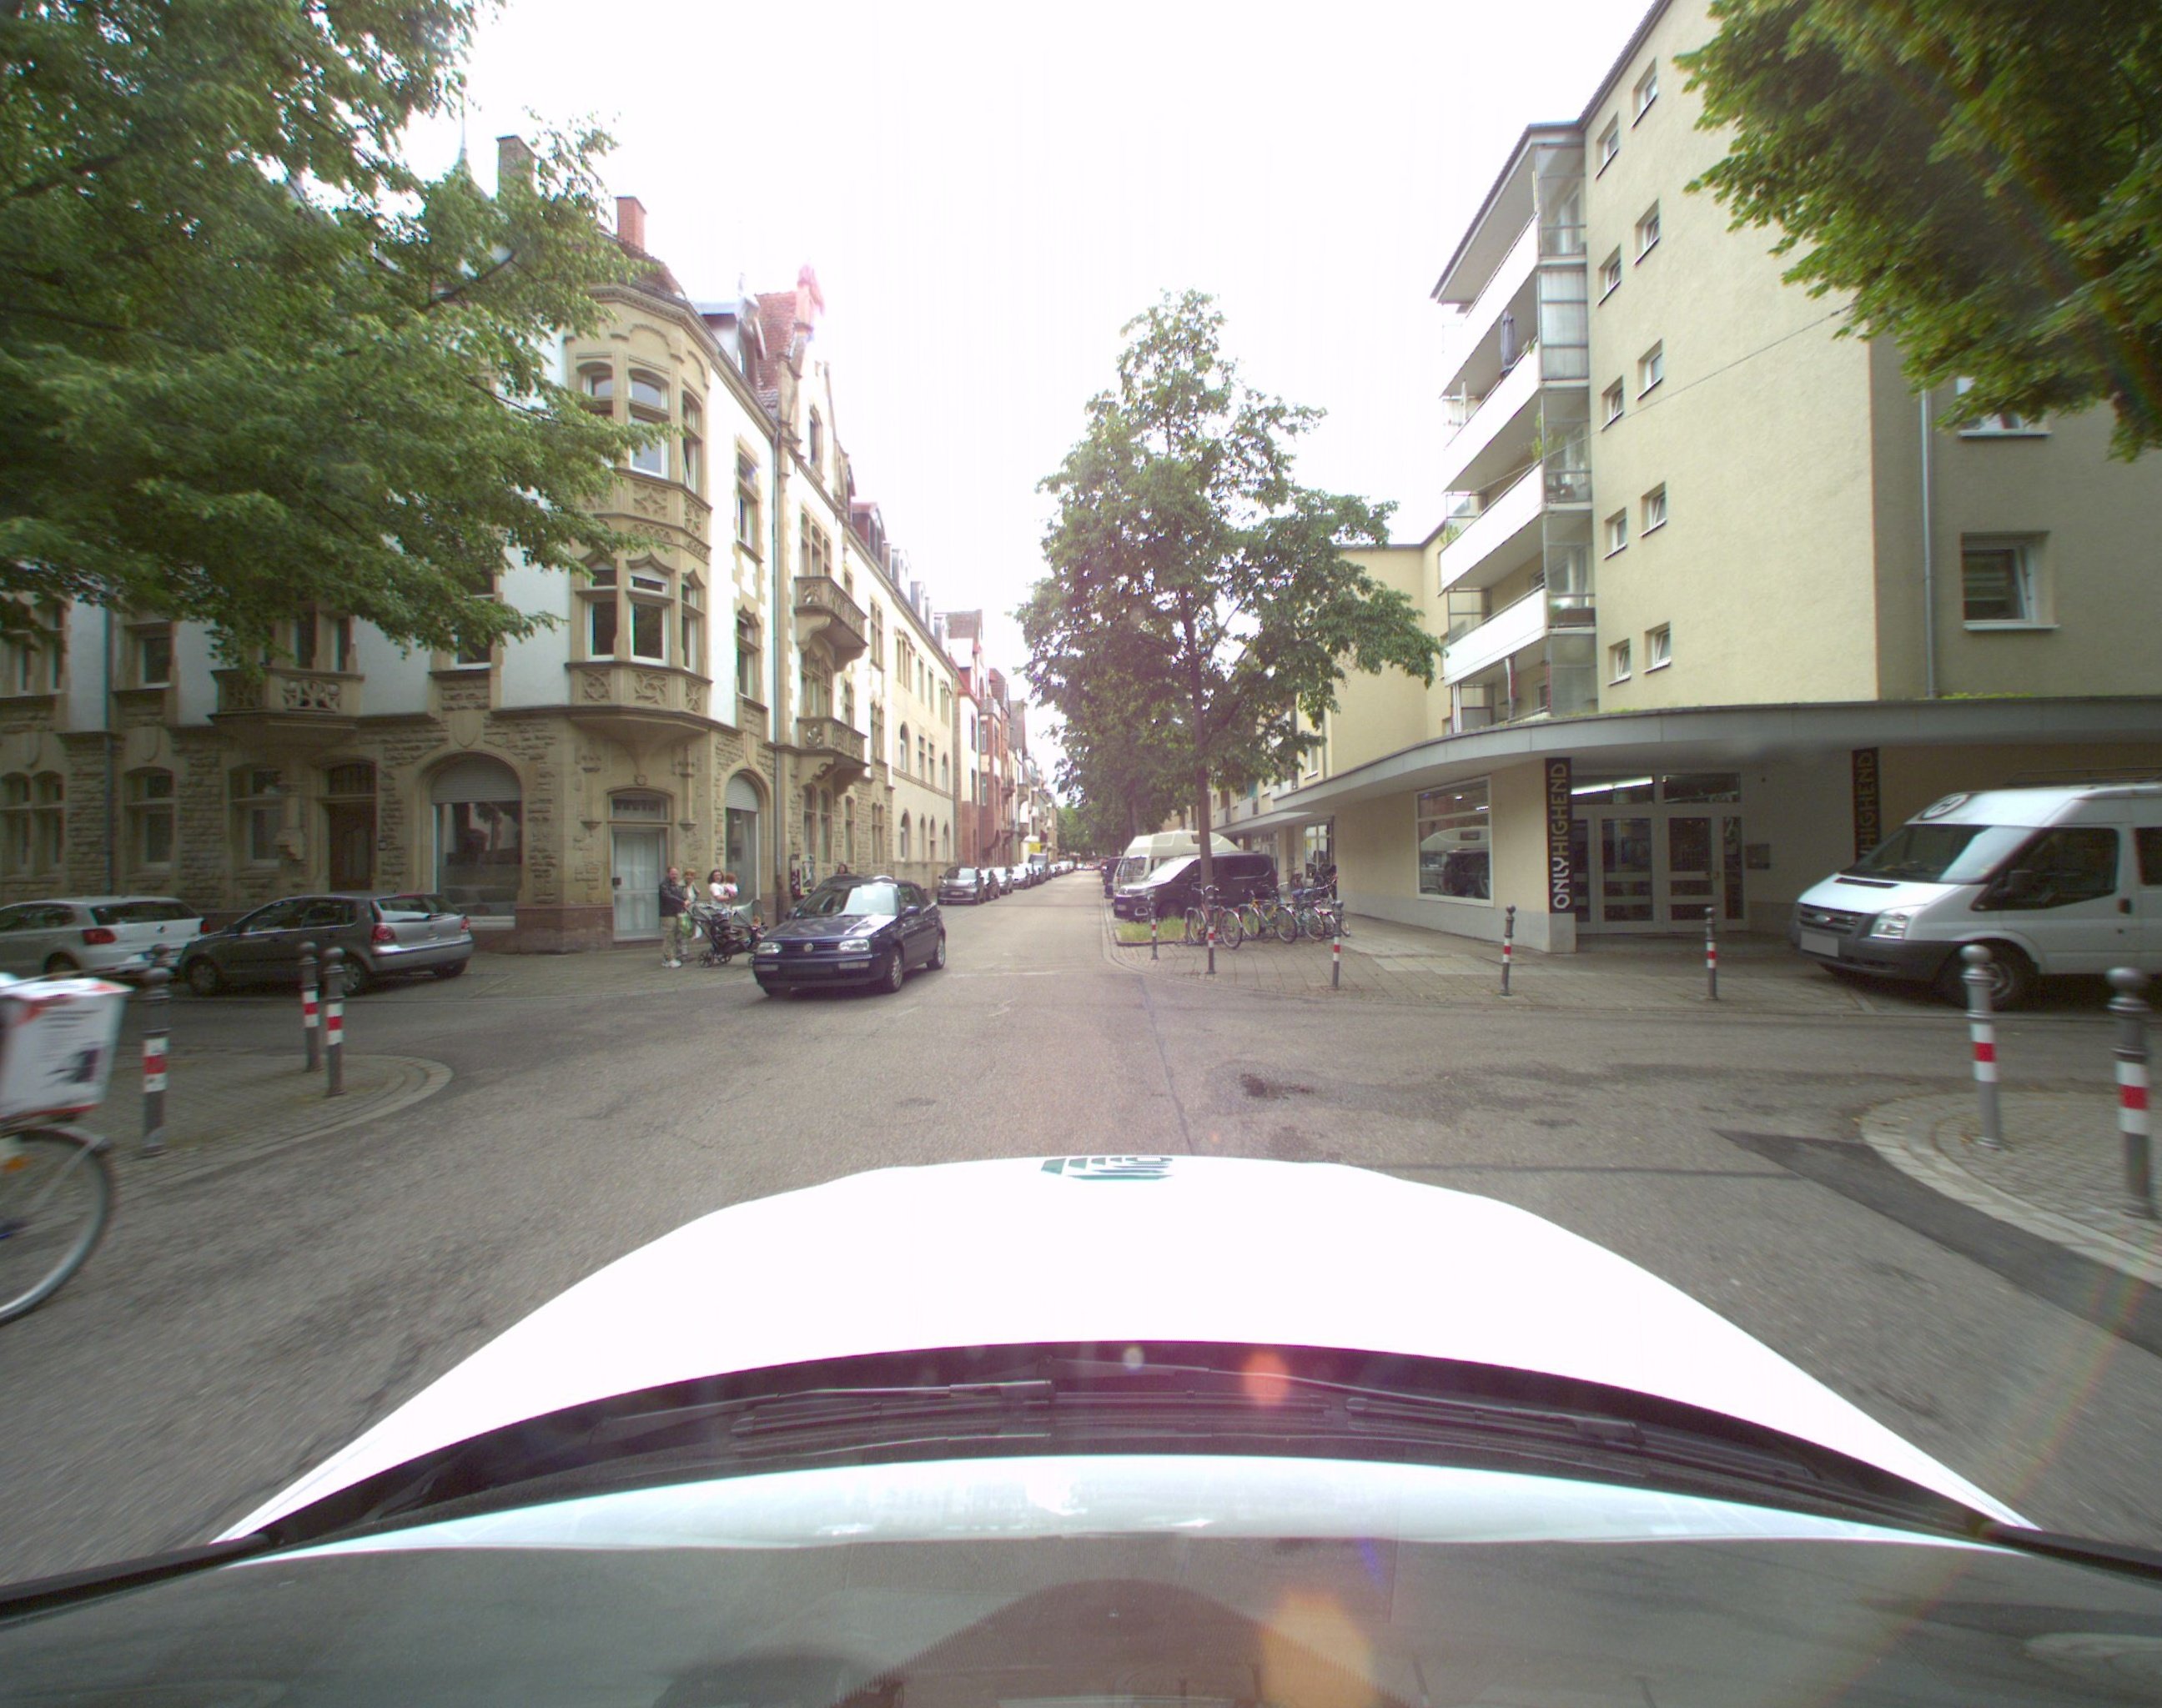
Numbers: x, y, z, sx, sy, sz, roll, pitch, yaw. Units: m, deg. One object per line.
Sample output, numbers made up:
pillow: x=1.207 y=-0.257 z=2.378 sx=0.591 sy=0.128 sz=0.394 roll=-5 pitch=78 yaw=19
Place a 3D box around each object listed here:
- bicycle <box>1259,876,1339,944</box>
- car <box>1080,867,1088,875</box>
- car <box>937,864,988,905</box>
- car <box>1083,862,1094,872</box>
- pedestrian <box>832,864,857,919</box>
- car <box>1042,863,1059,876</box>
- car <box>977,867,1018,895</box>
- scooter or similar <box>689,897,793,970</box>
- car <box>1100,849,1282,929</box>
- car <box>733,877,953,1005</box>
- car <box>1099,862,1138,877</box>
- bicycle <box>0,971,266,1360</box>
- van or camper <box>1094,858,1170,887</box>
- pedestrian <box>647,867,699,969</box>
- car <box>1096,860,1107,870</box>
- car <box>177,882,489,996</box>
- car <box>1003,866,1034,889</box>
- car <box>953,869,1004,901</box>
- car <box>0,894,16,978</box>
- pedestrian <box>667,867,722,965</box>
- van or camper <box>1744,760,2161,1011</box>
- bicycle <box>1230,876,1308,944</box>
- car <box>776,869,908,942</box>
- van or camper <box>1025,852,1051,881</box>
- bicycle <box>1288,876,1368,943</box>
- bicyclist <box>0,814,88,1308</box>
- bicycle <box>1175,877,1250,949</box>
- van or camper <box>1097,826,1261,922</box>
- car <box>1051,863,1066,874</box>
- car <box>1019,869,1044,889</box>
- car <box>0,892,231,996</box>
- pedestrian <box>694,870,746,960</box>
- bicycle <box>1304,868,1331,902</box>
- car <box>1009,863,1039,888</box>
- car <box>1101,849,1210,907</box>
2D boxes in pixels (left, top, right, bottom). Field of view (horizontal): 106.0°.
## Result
bicycle: x=4.100 y=1.019 z=15.466 sx=0.550 sy=1.173 sz=1.716 roll=-1 pitch=0 yaw=-20
car: x=0.653 y=3.834 z=184.842 sx=1.814 sy=1.645 sz=3.753 roll=0 pitch=-2 yaw=1
car: x=-4.873 y=1.230 z=33.779 sx=1.641 sy=1.570 sz=2.956 roll=0 pitch=0 yaw=0
car: x=1.552 y=2.602 z=162.120 sx=1.986 sy=1.794 sz=4.001 roll=0 pitch=-2 yaw=2
pedestrian: x=-6.651 y=1.055 z=22.907 sx=0.513 sy=1.518 sz=0.547 roll=-1 pitch=-1 yaw=1
car: x=-3.564 y=1.813 z=95.755 sx=1.783 sy=1.480 sz=4.022 roll=0 pitch=-1 yaw=1
car: x=-4.542 y=1.447 z=44.644 sx=1.720 sy=1.386 sz=4.137 roll=0 pitch=0 yaw=1
scooter or similar: x=-5.714 y=1.315 z=13.696 sx=1.459 sy=1.104 sz=0.678 roll=1 pitch=0 yaw=12
car: x=2.864 y=0.850 z=21.177 sx=4.352 sy=1.854 sz=1.896 roll=-1 pitch=-1 yaw=-24
car: x=-3.058 y=1.060 z=11.309 sx=1.701 sy=1.413 sz=3.855 roll=-2 pitch=-2 yaw=3
car: x=4.222 y=1.732 z=92.343 sx=4.035 sy=1.559 sz=1.866 roll=0 pitch=-1 yaw=-30
bicycle: x=-3.690 y=1.033 z=2.426 sx=0.631 sy=1.094 sz=1.801 roll=-1 pitch=0 yaw=3
van or camper: x=3.718 y=1.346 z=59.157 sx=5.033 sy=1.869 sz=2.108 roll=-2 pitch=-1 yaw=-27
pedestrian: x=-6.774 y=1.043 z=13.528 sx=0.524 sy=1.643 sz=0.530 roll=0 pitch=-1 yaw=13
car: x=4.040 y=2.235 z=162.812 sx=1.987 sy=2.014 sz=4.000 roll=2 pitch=-1 yaw=1
car: x=-11.367 y=1.221 z=12.482 sx=3.547 sy=1.460 sz=1.654 roll=0 pitch=2 yaw=10
car: x=-4.043 y=1.530 z=53.420 sx=1.657 sy=1.421 sz=3.929 roll=0 pitch=0 yaw=1
car: x=-4.688 y=1.407 z=37.778 sx=1.720 sy=1.387 sz=3.929 roll=0 pitch=-2 yaw=1
car: x=-20.689 y=1.417 z=13.846 sx=3.469 sy=1.460 sz=1.654 roll=0 pitch=-2 yaw=10
pedestrian: x=-6.717 y=1.057 z=14.177 sx=0.612 sy=1.643 sz=0.605 roll=-1 pitch=-1 yaw=13
van or camper: x=11.257 y=0.261 z=9.074 sx=5.738 sy=2.494 sz=2.142 roll=-1 pitch=2 yaw=8
bicycle: x=3.481 y=1.008 z=15.256 sx=0.550 sy=1.173 sz=1.716 roll=-1 pitch=0 yaw=-20
car: x=-5.391 y=1.127 z=18.902 sx=1.702 sy=1.495 sz=4.002 roll=0 pitch=-2 yaw=2
van or camper: x=-4.077 y=1.116 z=78.392 sx=2.001 sy=2.651 sz=5.317 roll=-1 pitch=0 yaw=1
bicycle: x=4.724 y=1.031 z=15.710 sx=0.550 sy=1.173 sz=1.686 roll=-1 pitch=0 yaw=-20
bicyclist: x=-3.711 y=0.651 z=2.432 sx=0.645 sy=1.538 sz=0.677 roll=-2 pitch=-1 yaw=3
bicycle: x=2.338 y=1.031 z=14.684 sx=0.550 sy=1.173 sz=1.716 roll=-1 pitch=0 yaw=-20
van or camper: x=2.945 y=0.532 z=24.048 sx=4.612 sy=2.596 sz=1.892 roll=-1 pitch=-1 yaw=-32
car: x=-3.212 y=2.139 z=118.889 sx=1.986 sy=1.475 sz=4.001 roll=-1 pitch=-1 yaw=1
car: x=-3.909 y=1.969 z=64.596 sx=1.629 sy=1.473 sz=4.001 roll=0 pitch=0 yaw=1
car: x=-16.179 y=1.384 z=13.159 sx=3.469 sy=1.460 sz=1.654 roll=0 pitch=-2 yaw=10
pedestrian: x=-6.621 y=1.094 z=14.935 sx=0.623 sy=1.593 sz=0.674 roll=-1 pitch=-1 yaw=42
bicycle: x=7.956 y=1.036 z=27.448 sx=0.482 sy=1.090 sz=1.702 roll=-1 pitch=-1 yaw=3
car: x=-4.108 y=1.535 z=59.440 sx=1.780 sy=1.647 sz=4.362 roll=0 pitch=0 yaw=1
car: x=3.067 y=0.906 z=32.855 sx=2.041 sy=2.196 sz=4.425 roll=-2 pitch=-1 yaw=44
